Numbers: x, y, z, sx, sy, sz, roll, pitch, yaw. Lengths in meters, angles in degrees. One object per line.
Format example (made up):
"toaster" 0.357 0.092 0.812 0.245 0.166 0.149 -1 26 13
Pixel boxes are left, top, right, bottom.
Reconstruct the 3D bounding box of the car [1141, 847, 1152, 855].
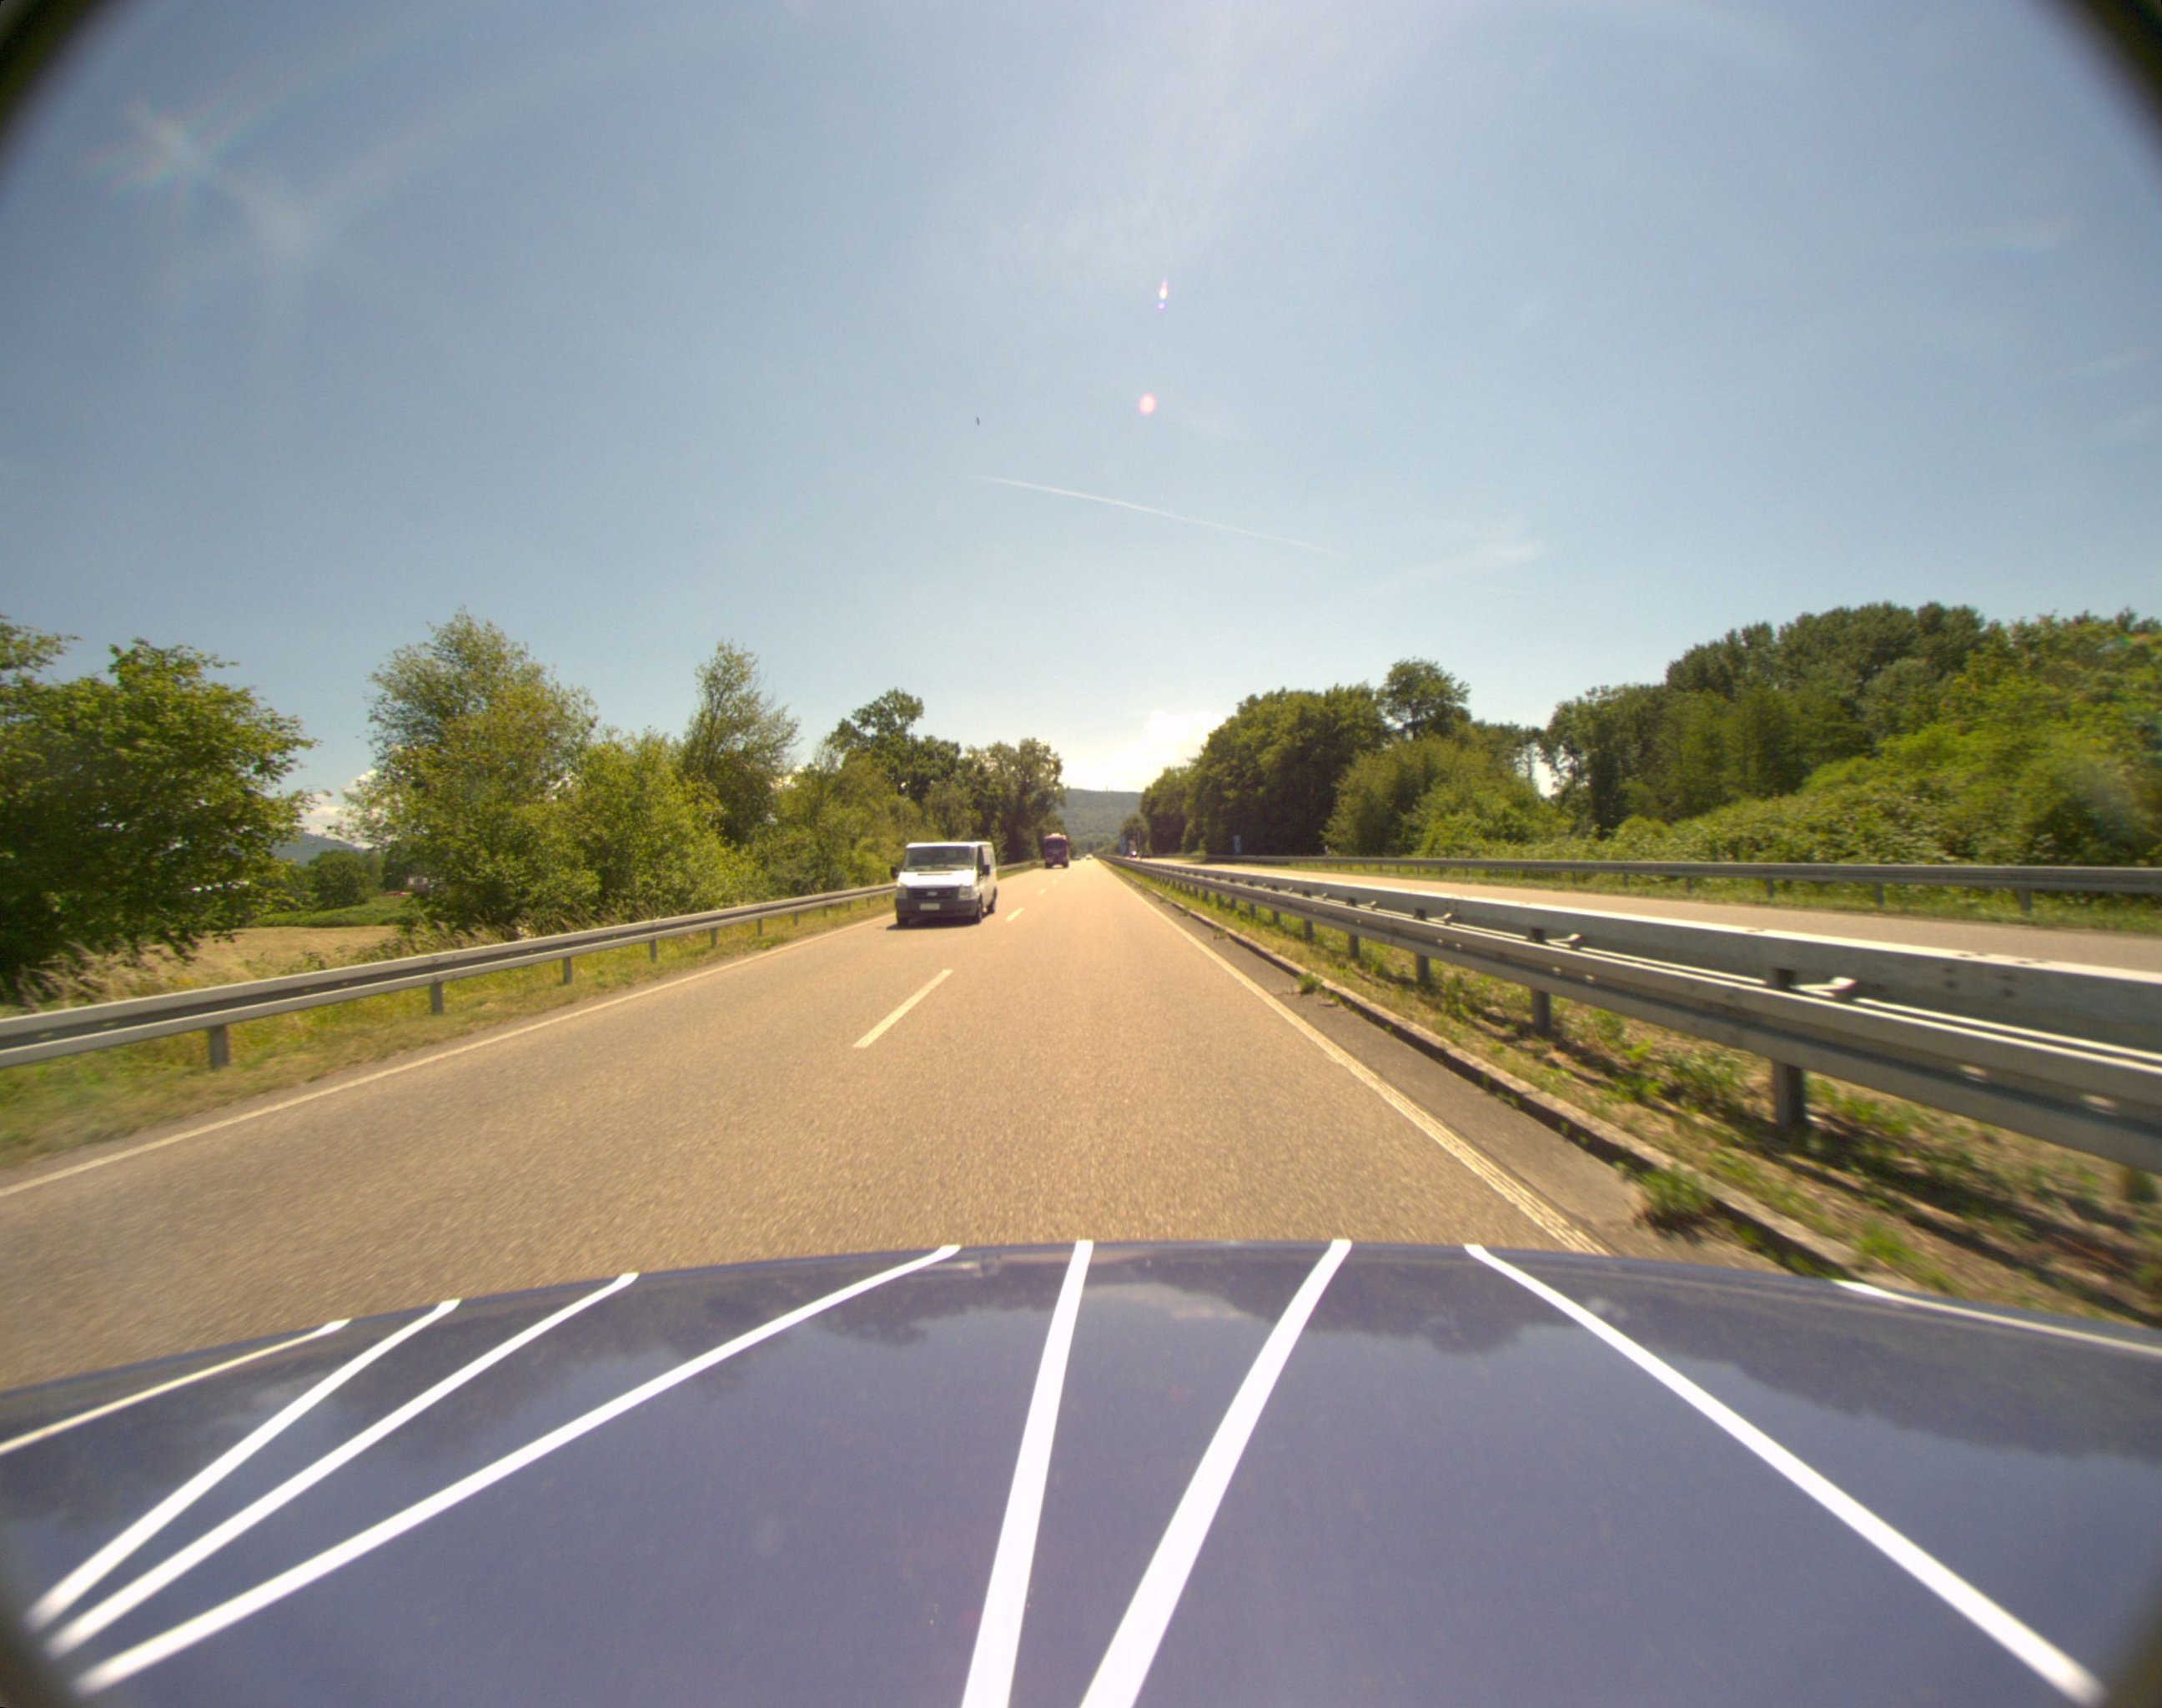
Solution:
"car" 12.060 -0.539 139.742 1.802 1.459 3.773 -3 1 1

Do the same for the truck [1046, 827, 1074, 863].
"truck" -2.316 -0.933 85.611 2.605 3.669 5.939 -5 0 0

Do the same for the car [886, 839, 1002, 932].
"car" -3.327 0.722 19.538 2.011 1.977 5.034 -3 0 -1

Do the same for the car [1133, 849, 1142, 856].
"car" 13.245 -0.383 178.804 1.780 1.411 4.575 -3 1 2

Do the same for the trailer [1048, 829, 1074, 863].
"trailer" -2.319 -0.875 90.477 2.605 3.607 8.614 -5 -1 0
